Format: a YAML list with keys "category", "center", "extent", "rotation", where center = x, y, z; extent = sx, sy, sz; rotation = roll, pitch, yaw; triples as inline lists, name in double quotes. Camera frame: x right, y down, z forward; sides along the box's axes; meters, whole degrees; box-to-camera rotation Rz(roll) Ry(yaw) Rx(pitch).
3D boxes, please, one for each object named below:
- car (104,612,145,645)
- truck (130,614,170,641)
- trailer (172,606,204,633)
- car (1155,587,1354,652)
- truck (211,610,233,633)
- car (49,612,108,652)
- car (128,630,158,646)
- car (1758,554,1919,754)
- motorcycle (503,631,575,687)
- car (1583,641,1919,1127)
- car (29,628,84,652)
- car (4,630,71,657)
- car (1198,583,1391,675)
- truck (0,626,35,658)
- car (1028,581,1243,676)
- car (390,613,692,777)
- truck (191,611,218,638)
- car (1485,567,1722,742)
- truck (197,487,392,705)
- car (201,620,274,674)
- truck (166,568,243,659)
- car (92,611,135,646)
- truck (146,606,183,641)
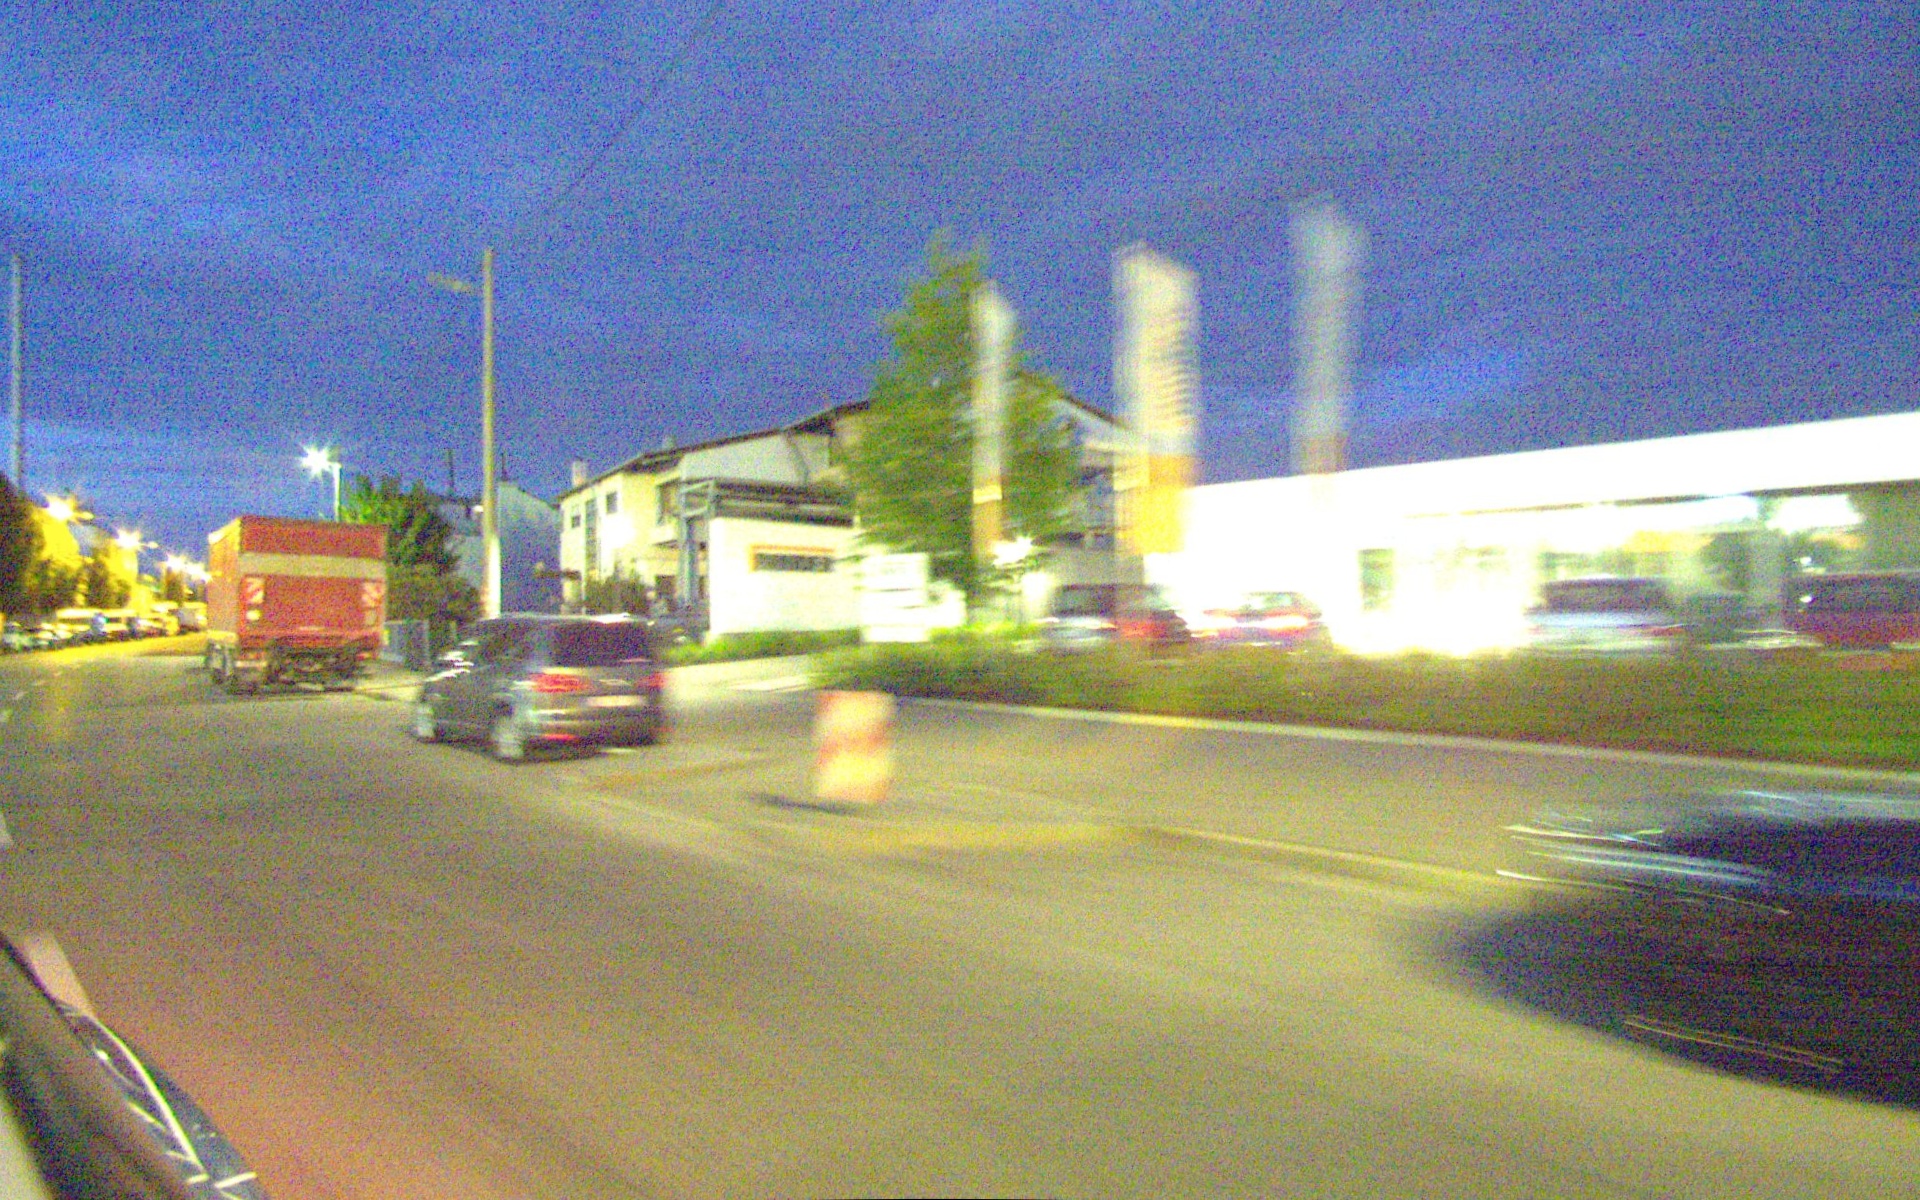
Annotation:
- category: "car"
  center: [-72.258, 2.463, 87.607]
  extent: [1.967, 2.590, 6.030]
  rotation: [-3, 0, -33]
- category: "truck"
  center: [-84.438, 2.852, 105.561]
  extent: [2.368, 2.614, 6.616]
  rotation: [-1, -1, -31]
- category: "trailer"
  center: [-104.824, 2.710, 137.480]
  extent: [2.839, 3.551, 8.306]
  rotation: [0, -1, -33]
- category: "car"
  center: [7.374, 0.500, 25.618]
  extent: [4.463, 1.468, 1.882]
  rotation: [-2, 0, 42]
- category: "truck"
  center: [-136.205, 4.007, 186.805]
  extent: [2.617, 3.904, 10.257]
  rotation: [-2, -2, -33]
- category: "car"
  center: [-60.828, 2.213, 69.945]
  extent: [1.966, 2.544, 5.926]
  rotation: [-3, 0, -31]
- category: "car"
  center: [-80.734, 3.761, 100.074]
  extent: [1.805, 1.418, 4.921]
  rotation: [-4, 0, -33]
- category: "car"
  center: [10.047, 0.516, 11.040]
  extent: [1.961, 1.829, 4.359]
  rotation: [-2, -2, 40]
- category: "motorcycle"
  center: [-9.645, 1.330, 23.246]
  extent: [0.527, 1.109, 1.683]
  rotation: [-1, 2, 18]
- category: "car"
  center: [4.434, 0.840, 2.848]
  extent: [4.356, 1.382, 1.796]
  rotation: [-2, -1, 39]
- category: "car"
  center: [-57.363, 2.519, 64.328]
  extent: [1.745, 1.423, 4.563]
  rotation: [0, -1, -31]
- category: "car"
  center: [-53.775, 2.501, 59.084]
  extent: [1.919, 1.500, 5.025]
  rotation: [0, -1, -31]
- category: "car"
  center: [6.138, 0.475, 18.274]
  extent: [1.826, 1.463, 4.360]
  rotation: [-2, -1, 40]
- category: "truck"
  center: [-51.353, 2.249, 54.786]
  extent: [1.352, 1.657, 3.822]
  rotation: [0, -1, -34]
- category: "car"
  center: [3.288, 0.464, 18.316]
  extent: [1.891, 1.493, 4.360]
  rotation: [-2, -1, 40]
- category: "car"
  center: [-5.219, 0.997, 12.244]
  extent: [1.845, 1.605, 4.497]
  rotation: [0, -1, -44]
- category: "truck"
  center: [-119.585, 3.863, 160.180]
  extent: [2.753, 4.000, 9.846]
  rotation: [-2, -1, -33]
- category: "car"
  center: [8.360, 0.585, 12.941]
  extent: [1.961, 1.829, 4.561]
  rotation: [-2, -1, 40]
- category: "truck"
  center: [-15.896, 0.021, 23.783]
  extent: [2.738, 4.151, 9.356]
  rotation: [0, -1, -40]
- category: "car"
  center: [-25.200, 1.583, 35.228]
  extent: [1.918, 1.730, 5.209]
  rotation: [0, -1, -37]
- category: "truck"
  center: [-36.909, 0.684, 49.655]
  extent: [2.709, 4.064, 9.583]
  rotation: [0, -1, -35]
- category: "car"
  center: [-68.297, 2.296, 81.699]
  extent: [2.100, 2.590, 5.923]
  rotation: [-4, 0, -36]
- category: "truck"
  center: [-89.843, 2.629, 114.390]
  extent: [2.728, 3.792, 5.243]
  rotation: [-2, 0, -33]
